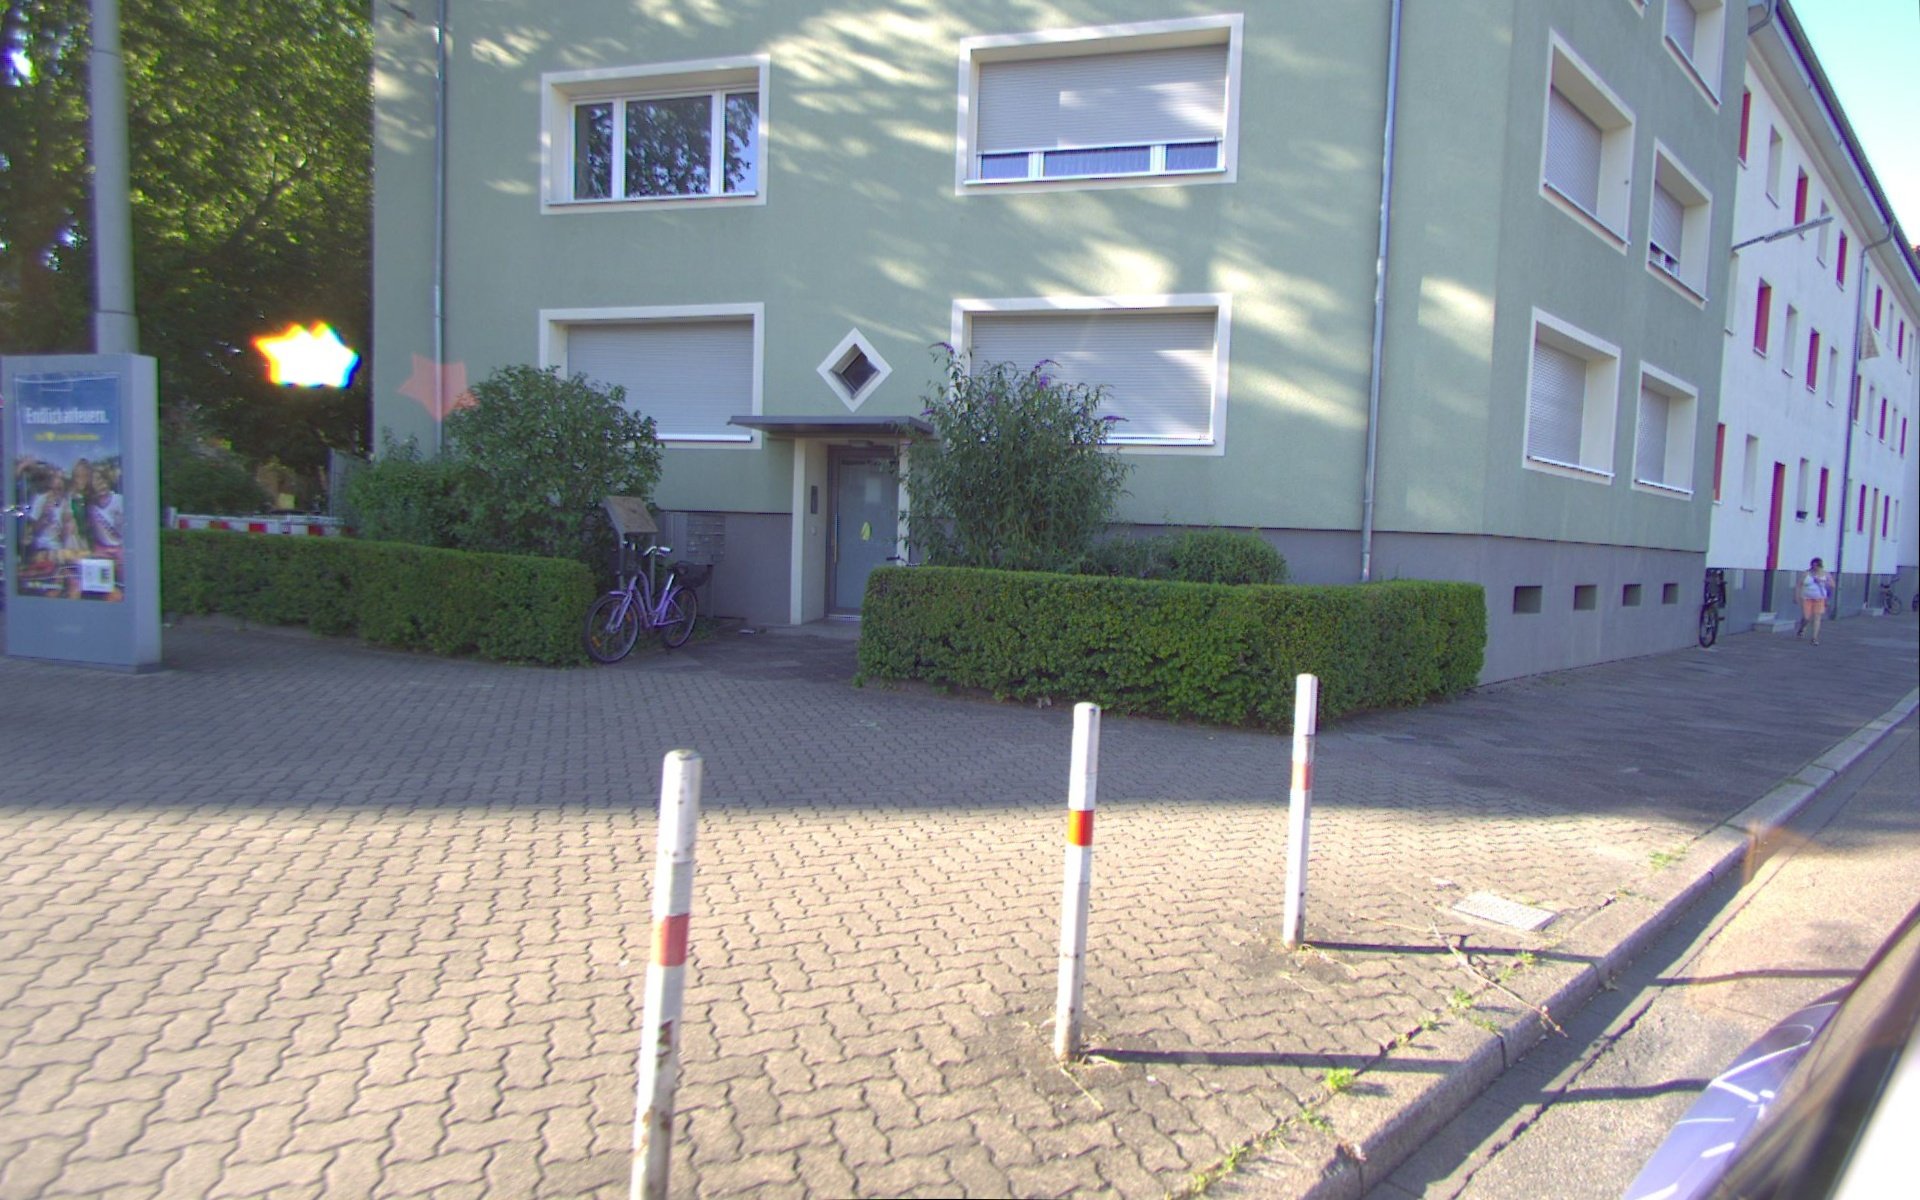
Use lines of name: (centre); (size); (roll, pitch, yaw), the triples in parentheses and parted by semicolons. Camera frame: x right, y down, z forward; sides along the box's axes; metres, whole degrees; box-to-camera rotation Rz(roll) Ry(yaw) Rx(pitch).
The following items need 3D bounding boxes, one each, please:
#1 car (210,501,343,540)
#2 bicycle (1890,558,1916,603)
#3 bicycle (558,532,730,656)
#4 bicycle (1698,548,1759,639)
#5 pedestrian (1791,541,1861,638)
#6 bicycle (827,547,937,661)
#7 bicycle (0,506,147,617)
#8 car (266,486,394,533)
car: (-30.403, -3.536, 45.209); (4.629, 1.552, 1.925); (0, 4, -22)
bicycle: (31.800, -0.670, 34.113); (0.516, 1.429, 1.844); (5, 4, 44)
bicycle: (-3.014, -0.104, 9.866); (0.515, 1.069, 1.921); (3, 4, 21)
bicycle: (12.877, -0.131, 16.930); (0.516, 1.429, 1.844); (5, 4, 44)
pedestrian: (16.144, -0.213, 18.869); (0.934, 1.727, 0.787); (-1, 4, -42)
bicycle: (-0.749, -0.012, 10.281); (0.636, 1.014, 1.843); (2, 4, 11)
bicycle: (-9.417, -0.432, 10.651); (1.913, 1.069, 0.517); (3, 3, 24)
car: (-35.740, -5.121, 57.583); (5.839, 2.394, 2.067); (0, 4, -19)
